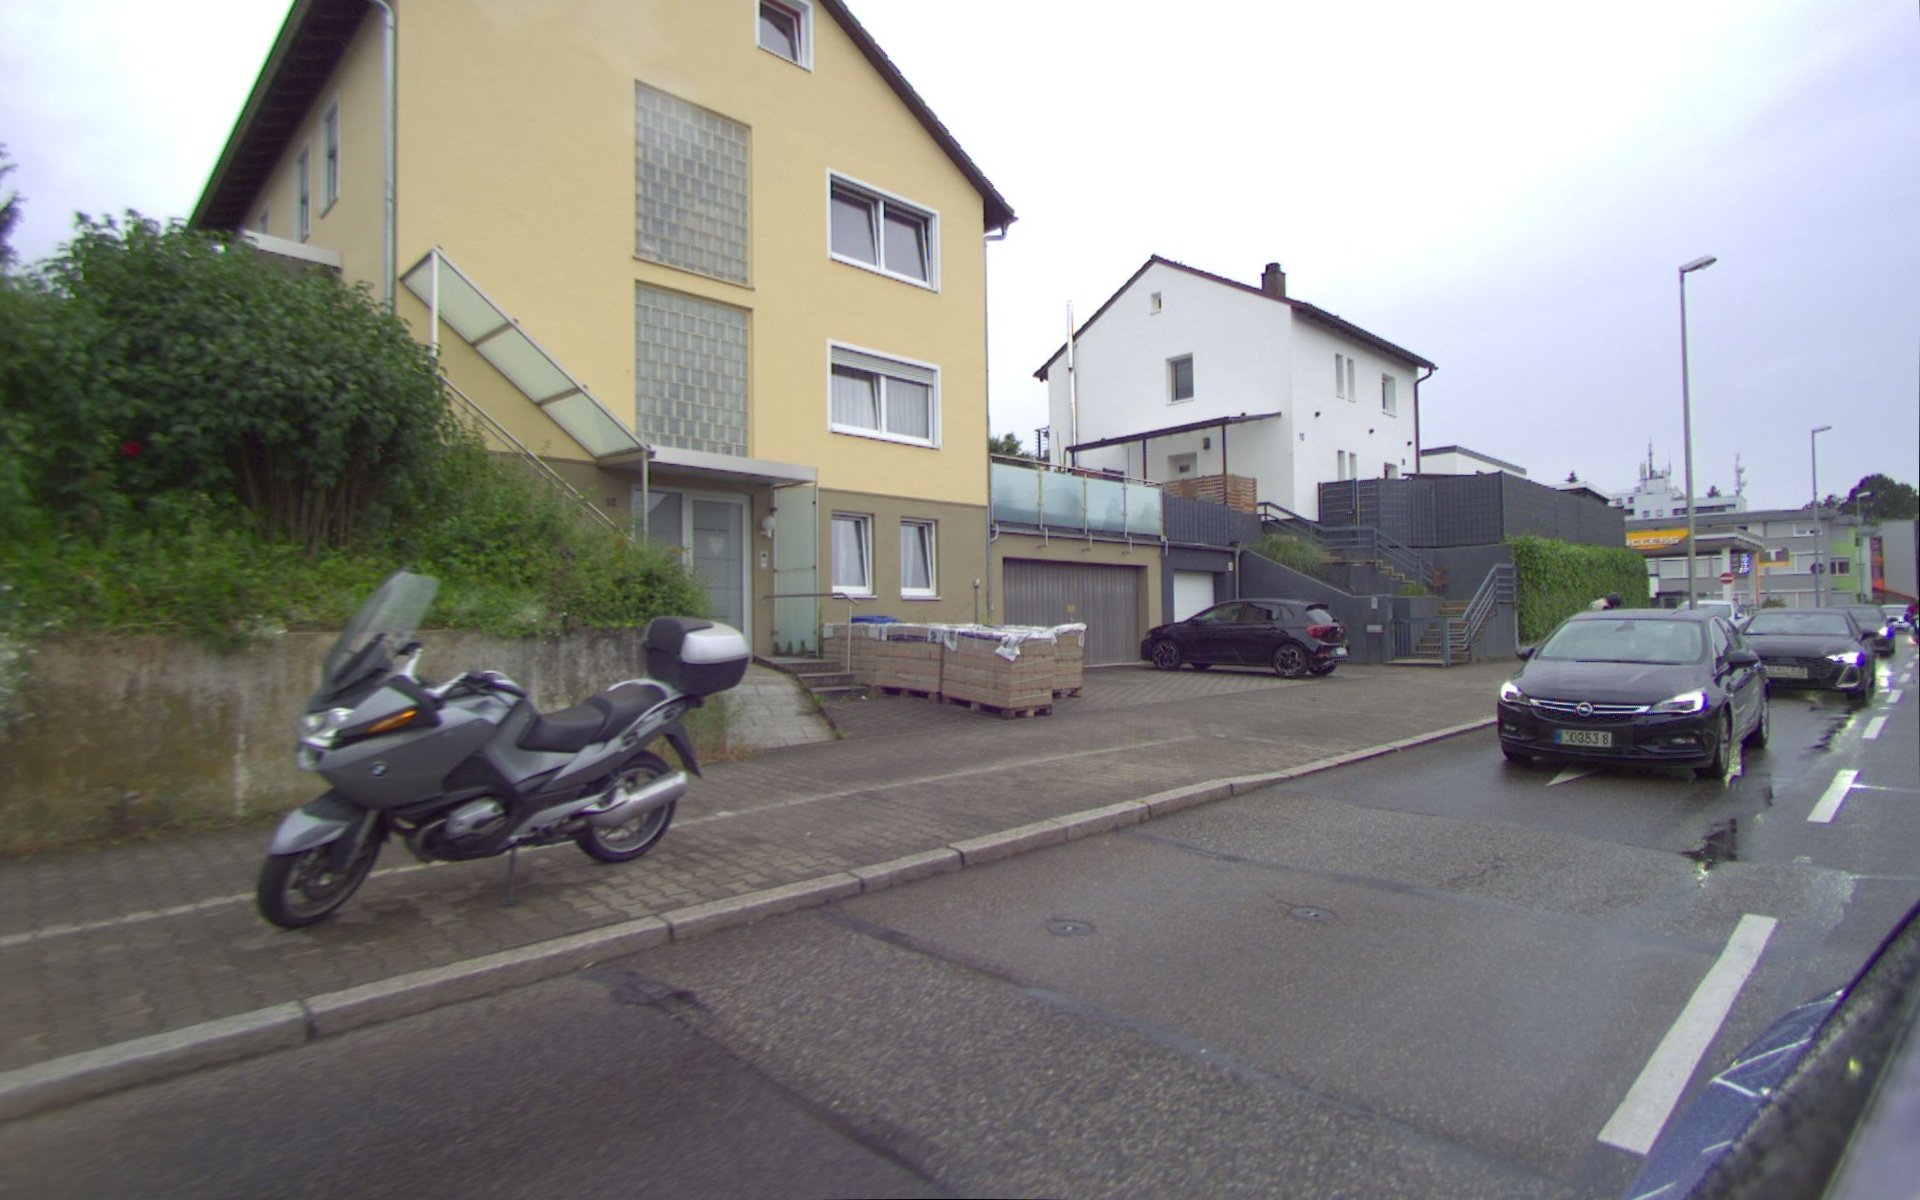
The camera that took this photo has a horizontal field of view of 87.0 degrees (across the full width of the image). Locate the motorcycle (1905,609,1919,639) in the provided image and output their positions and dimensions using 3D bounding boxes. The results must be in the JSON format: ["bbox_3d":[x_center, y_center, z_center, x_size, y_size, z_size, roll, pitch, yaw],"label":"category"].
[{"bbox_3d":[35.740,0.885,37.079,0.935,1.121,2.384,-1,0,26],"label":"motorcycle"}]

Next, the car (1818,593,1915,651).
[{"bbox_3d":[26.542,0.665,29.592,3.932,1.476,1.837,5,-4,-44],"label":"car"}]

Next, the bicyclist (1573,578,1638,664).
[{"bbox_3d":[12.856,0.400,20.169,0.889,1.663,0.810,0,0,-34],"label":"bicyclist"}]

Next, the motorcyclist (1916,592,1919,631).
[{"bbox_3d":[35.613,0.416,36.807,0.944,1.440,0.984,-1,-1,26],"label":"motorcyclist"}]

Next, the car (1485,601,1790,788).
[{"bbox_3d":[6.813,0.745,10.002,1.836,1.416,3.936,0,1,44],"label":"car"}]

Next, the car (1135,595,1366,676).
[{"bbox_3d":[5.538,0.614,19.558,3.981,1.421,1.649,0,0,40],"label":"car"}]

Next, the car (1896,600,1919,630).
[{"bbox_3d":[50.585,0.803,53.319,1.836,1.500,3.936,0,-1,44],"label":"car"}]

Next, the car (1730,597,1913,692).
[{"bbox_3d":[14.890,0.743,17.389,4.774,1.416,1.907,3,-2,-44],"label":"car"}]

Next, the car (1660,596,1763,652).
[{"bbox_3d":[21.697,0.635,29.168,3.933,1.508,1.734,0,0,-44],"label":"car"}]

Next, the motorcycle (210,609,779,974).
[{"bbox_3d":[-2.088,0.730,4.923,0.692,1.341,2.439,0,0,45],"label":"motorcycle"}]
